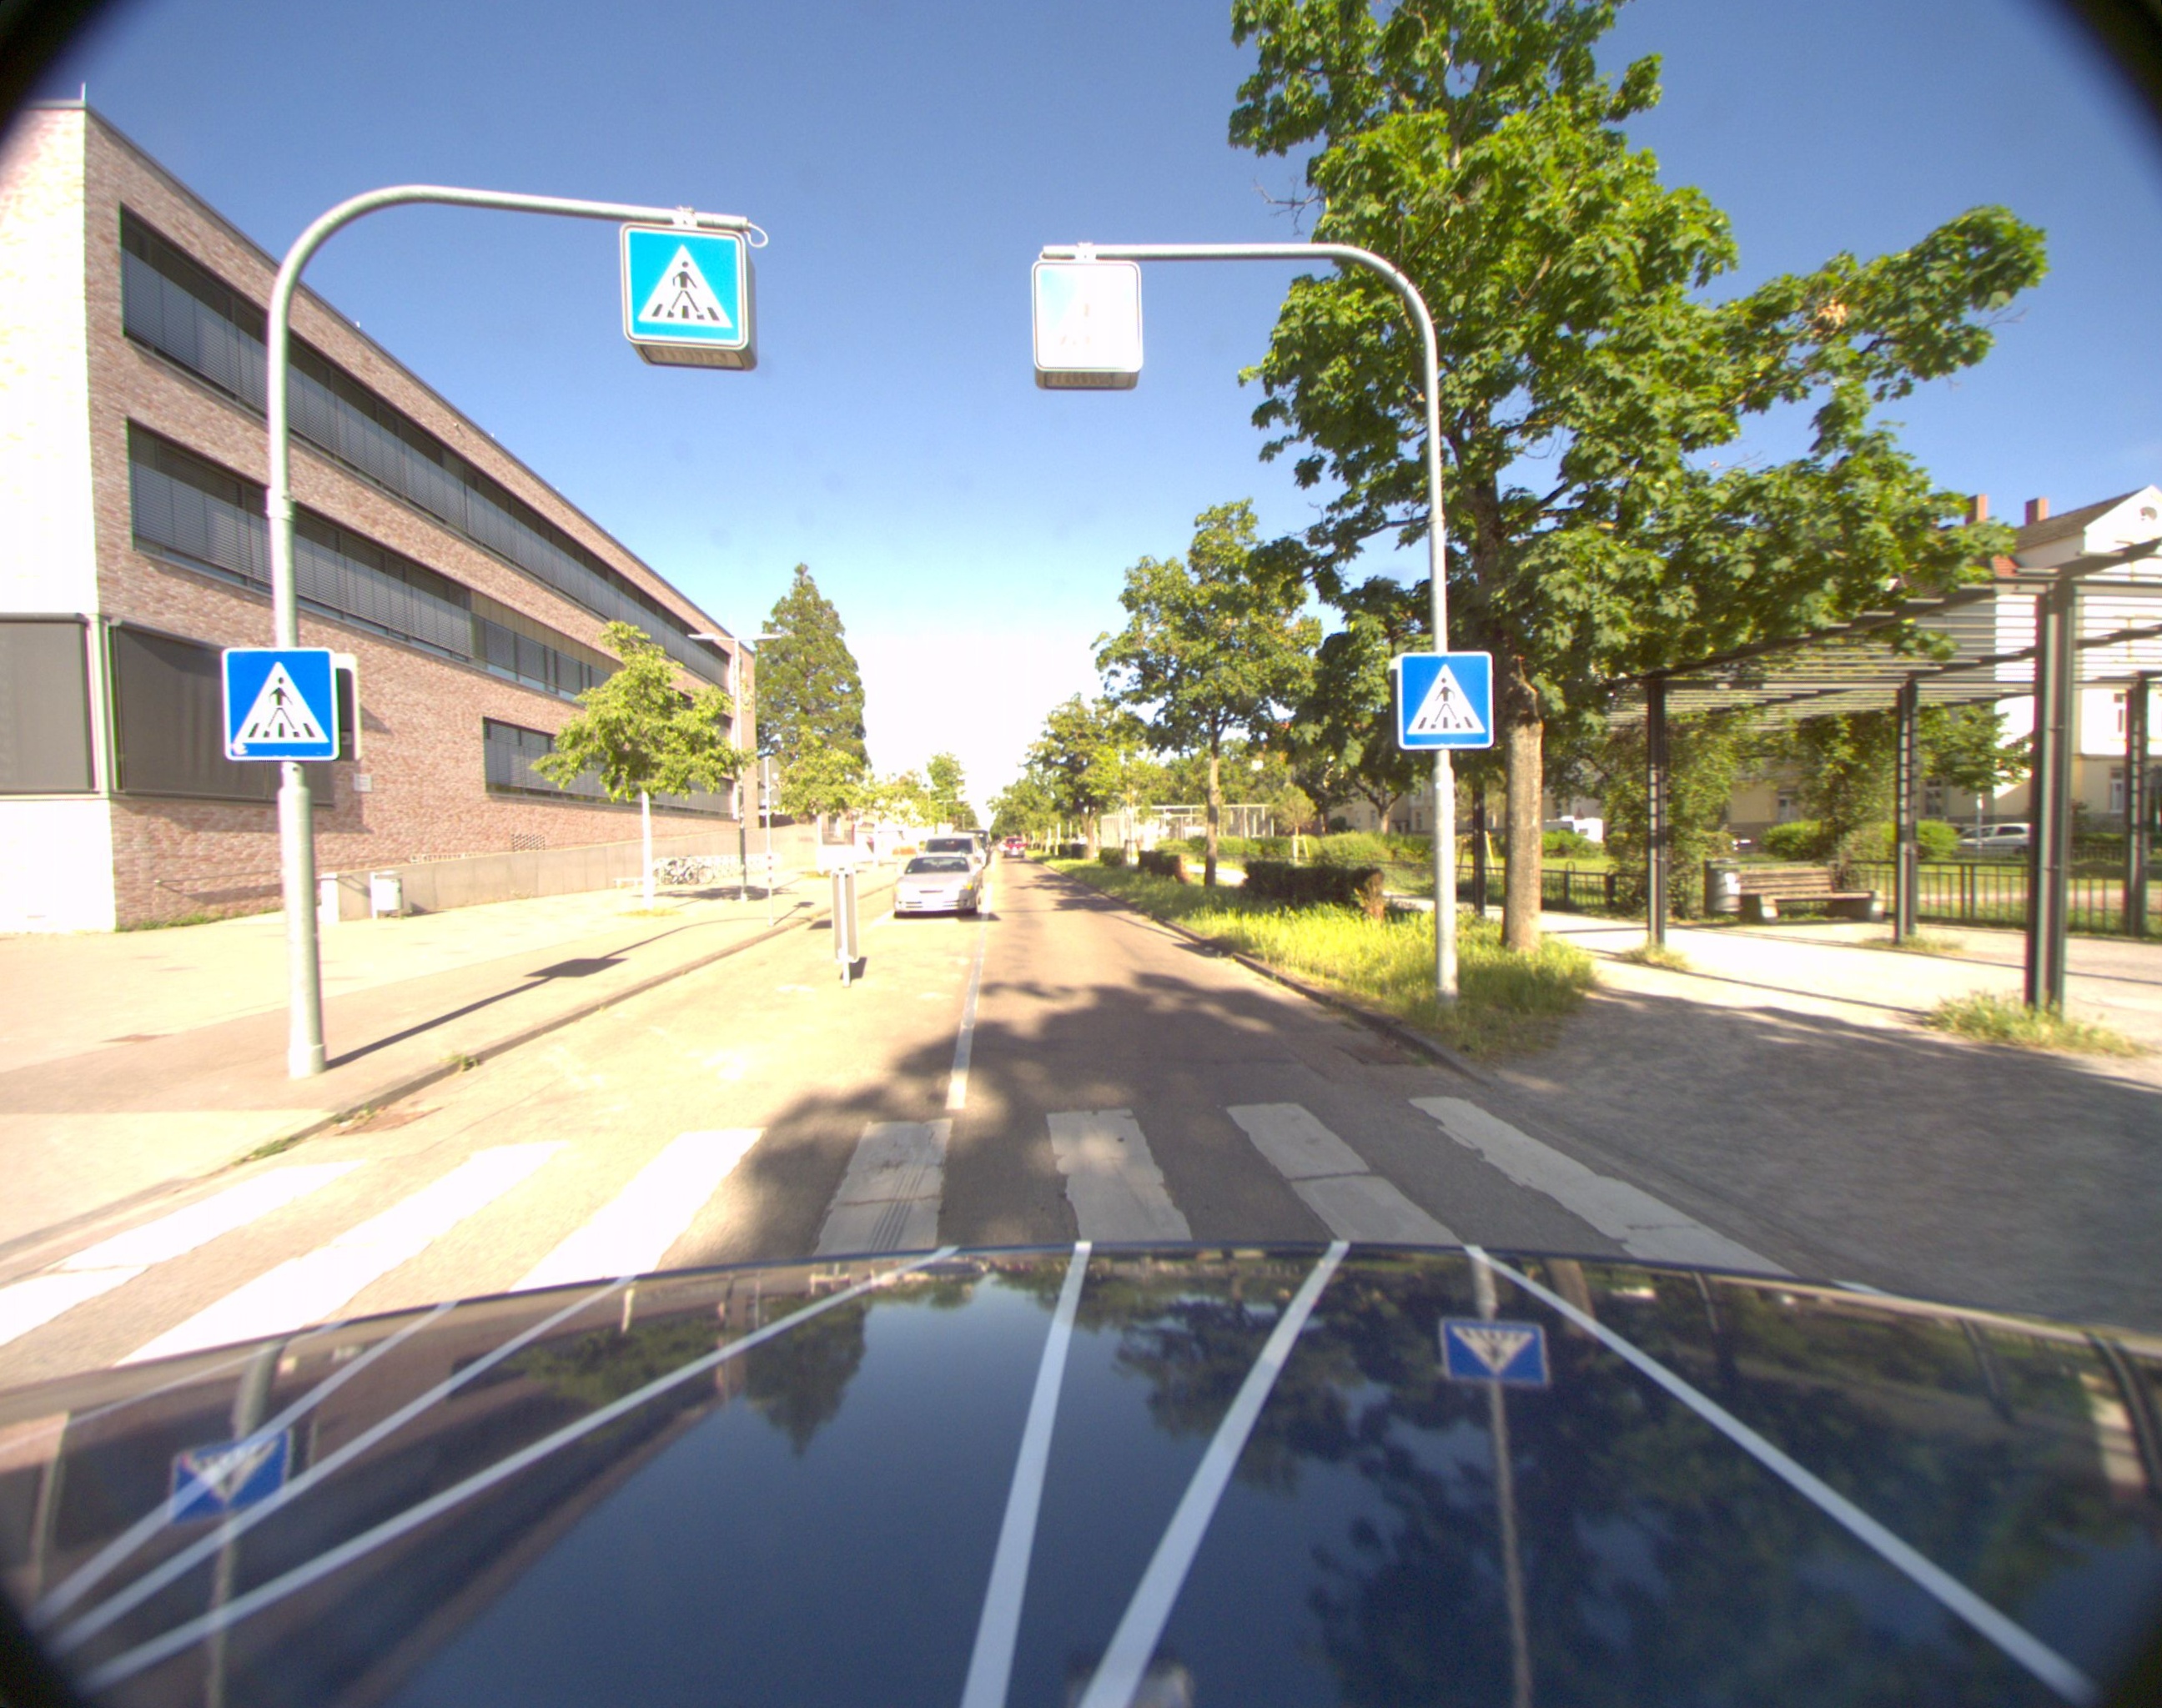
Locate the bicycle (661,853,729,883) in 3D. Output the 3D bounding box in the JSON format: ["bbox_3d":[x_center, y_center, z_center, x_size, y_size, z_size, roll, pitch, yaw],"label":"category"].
[{"bbox_3d":[-14.188,0.516,27.976,2.085,1.058,0.859,1,2,-6],"label":"bicycle"}]

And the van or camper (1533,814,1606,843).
[{"bbox_3d":[35.630,-1.890,55.613,2.274,2.002,4.370,-2,2,-6],"label":"van or camper"}]

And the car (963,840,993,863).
[{"bbox_3d":[-6.747,-0.193,49.980,1.716,1.412,3.921,-2,2,-5],"label":"car"}]

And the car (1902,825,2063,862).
[{"bbox_3d":[35.346,-0.438,29.942,1.753,1.323,3.709,-2,2,-8],"label":"car"}]

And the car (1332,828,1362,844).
[{"bbox_3d":[31.601,-2.105,90.385,1.956,1.784,3.997,-2,2,-5],"label":"car"}]

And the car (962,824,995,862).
[{"bbox_3d":[-7.598,-0.859,56.937,2.075,2.584,6.198,-2,2,-5],"label":"car"}]

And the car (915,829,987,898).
[{"bbox_3d":[-3.942,0.219,23.718,1.789,1.900,4.623,-2,2,-5],"label":"car"}]

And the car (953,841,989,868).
[{"bbox_3d":[-6.257,-0.033,43.624,1.826,1.412,4.037,-2,2,-5],"label":"car"}]

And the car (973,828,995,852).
[{"bbox_3d":[-11.011,-1.642,86.870,2.197,2.584,6.039,-2,2,-5],"label":"car"}]

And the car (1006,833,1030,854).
[{"bbox_3d":[-5.895,-0.980,71.413,2.022,1.867,4.737,-2,2,-3],"label":"car"}]

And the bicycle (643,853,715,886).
[{"bbox_3d":[-14.087,0.538,26.692,2.031,1.057,0.882,1,2,-7],"label":"bicycle"}]

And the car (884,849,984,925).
[{"bbox_3d":[-3.105,0.604,16.948,1.653,1.325,4.930,-2,2,-5],"label":"car"}]
